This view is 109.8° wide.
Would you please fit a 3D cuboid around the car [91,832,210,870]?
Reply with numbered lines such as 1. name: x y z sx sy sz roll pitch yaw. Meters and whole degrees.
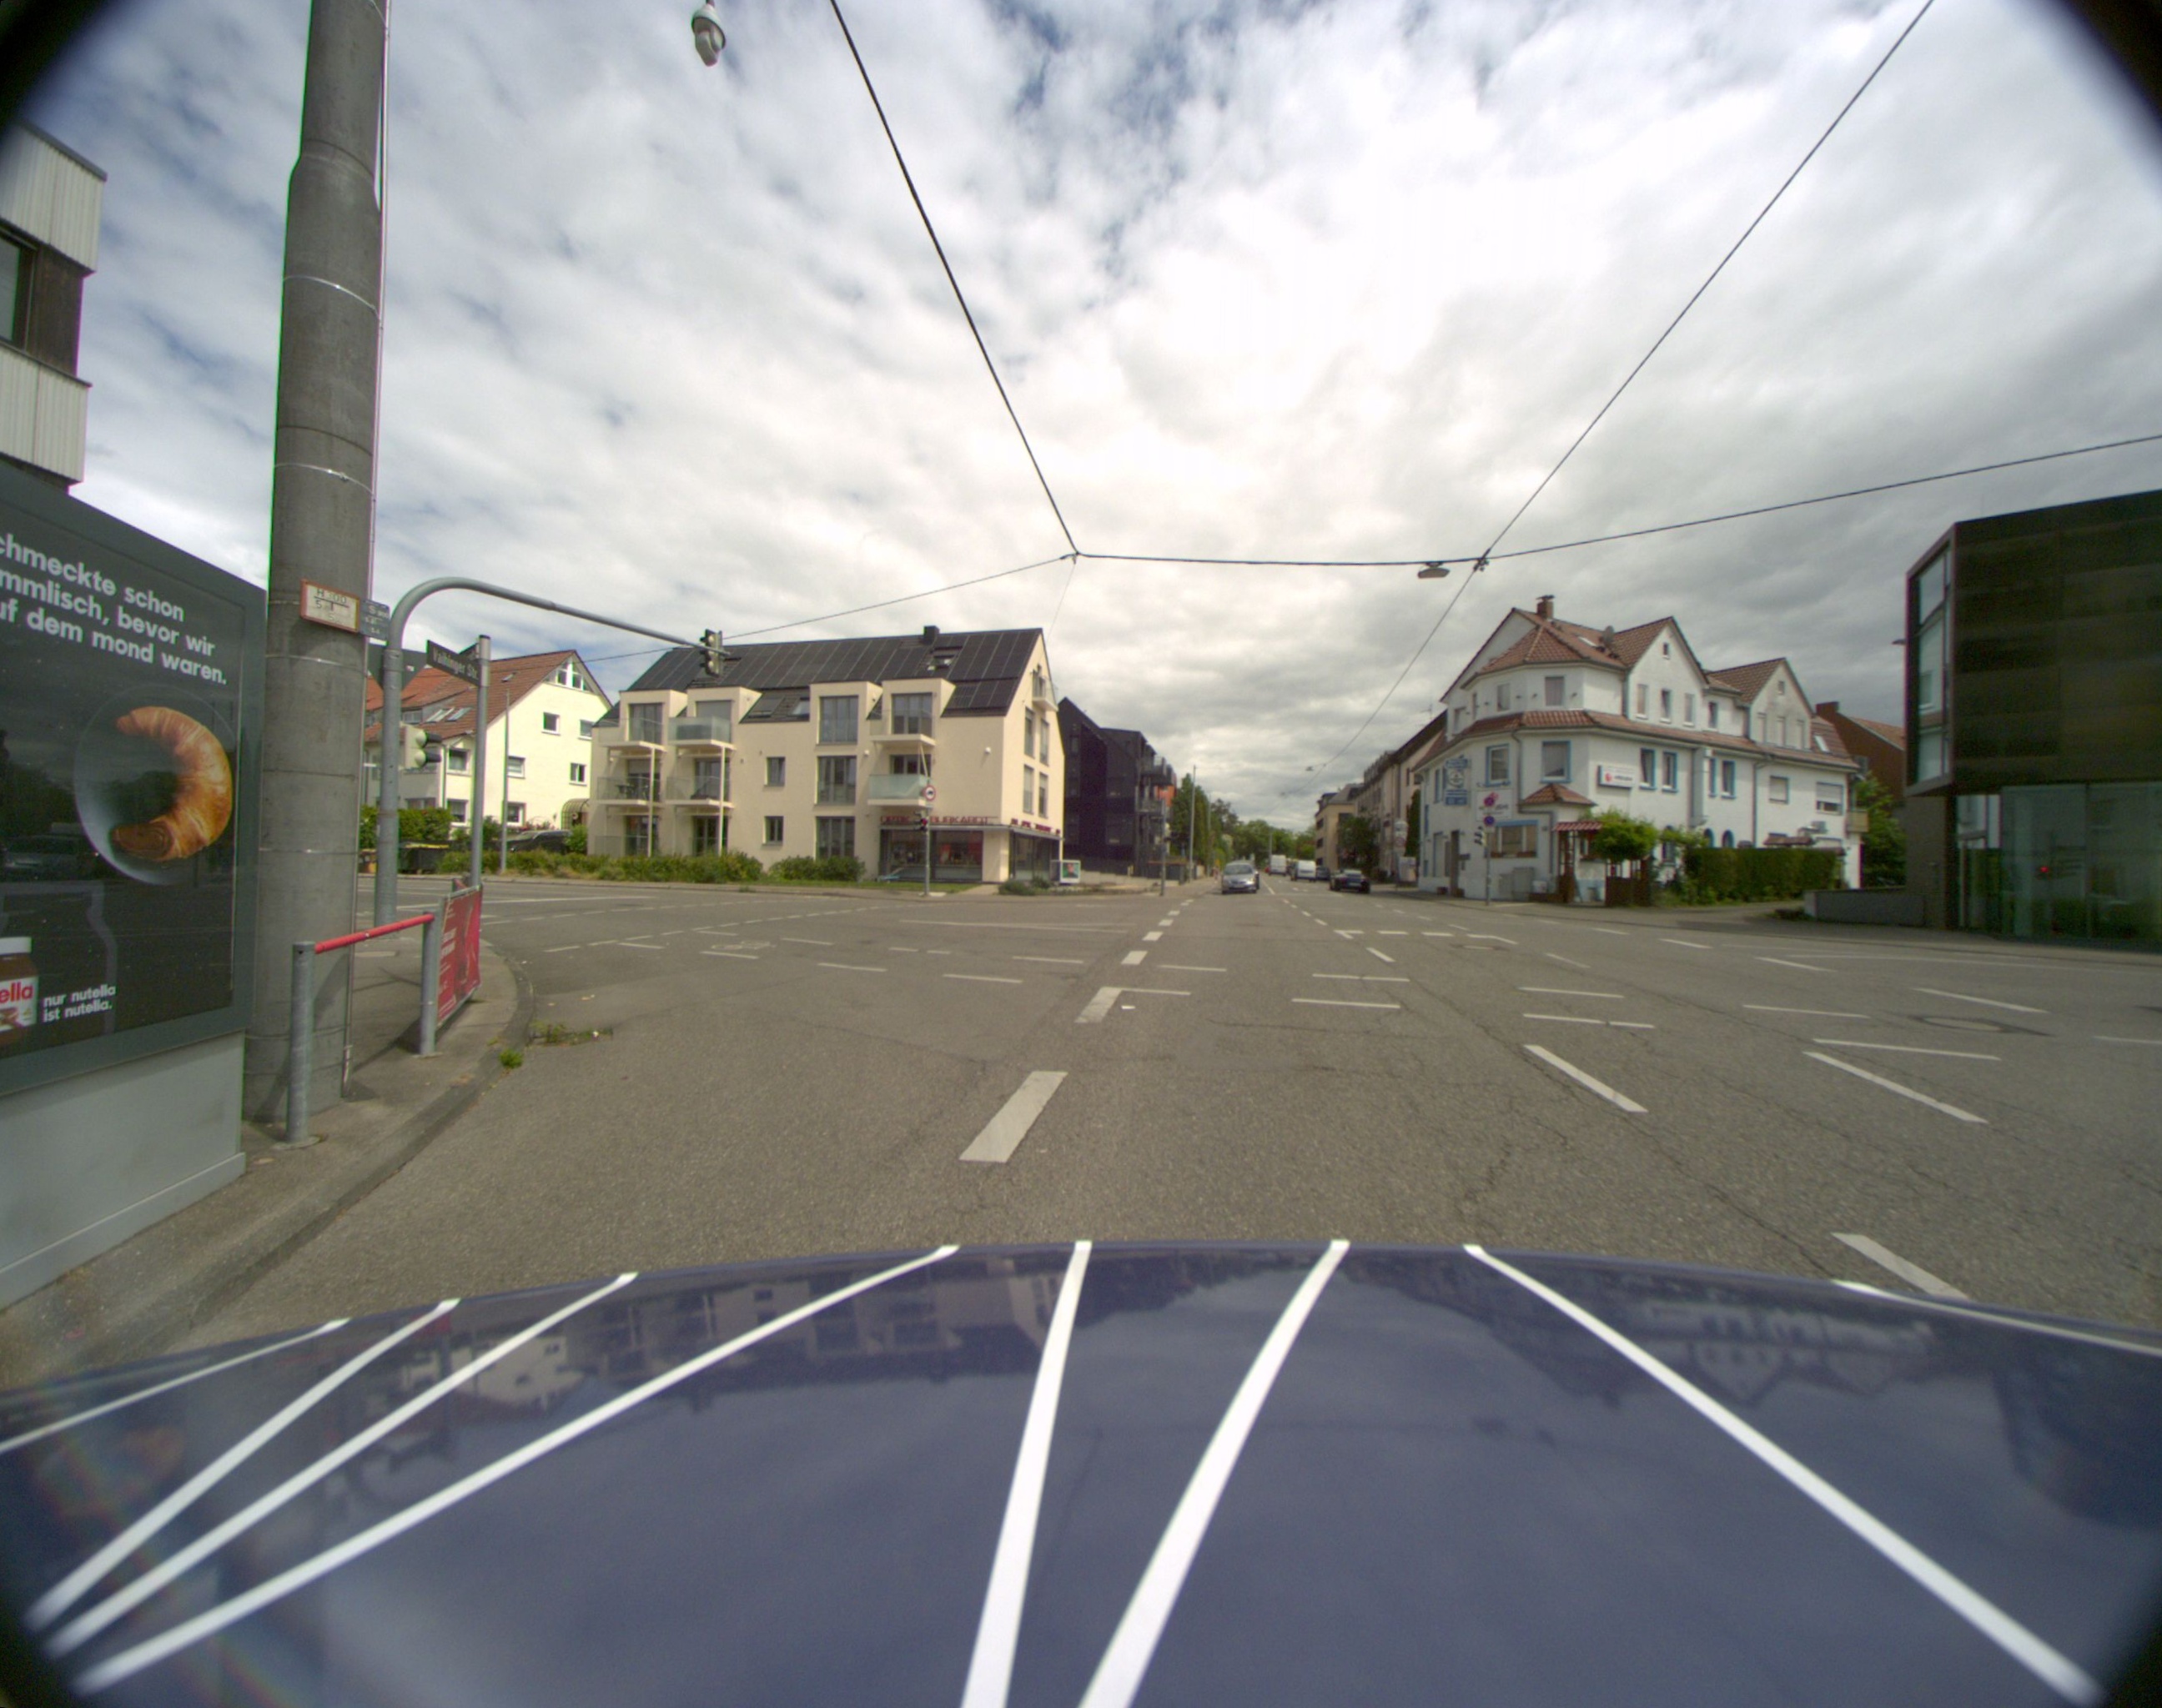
1. car: -43.055 -0.142 35.170 4.443 1.623 2.003 1 0 18

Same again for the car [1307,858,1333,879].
1. car: 24.182 1.401 76.917 1.997 2.002 4.003 1 0 10

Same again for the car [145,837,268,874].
1. car: -38.470 0.075 33.442 4.444 1.492 1.822 1 0 16

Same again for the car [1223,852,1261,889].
1. car: 9.223 0.885 43.612 1.996 2.002 4.004 1 0 12

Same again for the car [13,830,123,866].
1. car: -49.665 -0.284 37.264 4.227 1.623 2.003 1 0 18

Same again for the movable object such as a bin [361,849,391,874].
1. movable object such as a bin: -31.561 0.335 34.030 0.690 1.059 0.766 1 0 26

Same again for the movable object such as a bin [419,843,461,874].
1. movable object such as a bin: -28.660 0.212 33.977 0.978 1.354 1.094 1 0 18

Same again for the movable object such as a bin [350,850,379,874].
1. movable object such as a bin: -32.257 0.364 34.215 0.690 1.059 0.766 1 0 26

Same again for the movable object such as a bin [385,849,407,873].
1. movable object such as a bin: -31.233 0.313 34.641 0.524 1.059 0.655 1 0 -20

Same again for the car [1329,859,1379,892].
1. car: 14.713 1.095 41.159 1.996 1.521 4.004 4 1 13

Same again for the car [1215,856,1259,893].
1. car: 7.804 0.992 37.872 1.996 1.674 4.004 1 1 12

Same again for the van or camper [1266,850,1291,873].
1. van or camper: 24.452 0.925 94.100 2.111 2.571 5.649 4 0 7

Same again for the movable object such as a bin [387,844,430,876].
1. movable object such as a bin: -30.369 0.267 34.308 0.978 1.438 1.094 1 0 18

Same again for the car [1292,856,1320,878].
1. car: 19.558 1.103 66.235 1.819 1.801 4.423 2 0 10
